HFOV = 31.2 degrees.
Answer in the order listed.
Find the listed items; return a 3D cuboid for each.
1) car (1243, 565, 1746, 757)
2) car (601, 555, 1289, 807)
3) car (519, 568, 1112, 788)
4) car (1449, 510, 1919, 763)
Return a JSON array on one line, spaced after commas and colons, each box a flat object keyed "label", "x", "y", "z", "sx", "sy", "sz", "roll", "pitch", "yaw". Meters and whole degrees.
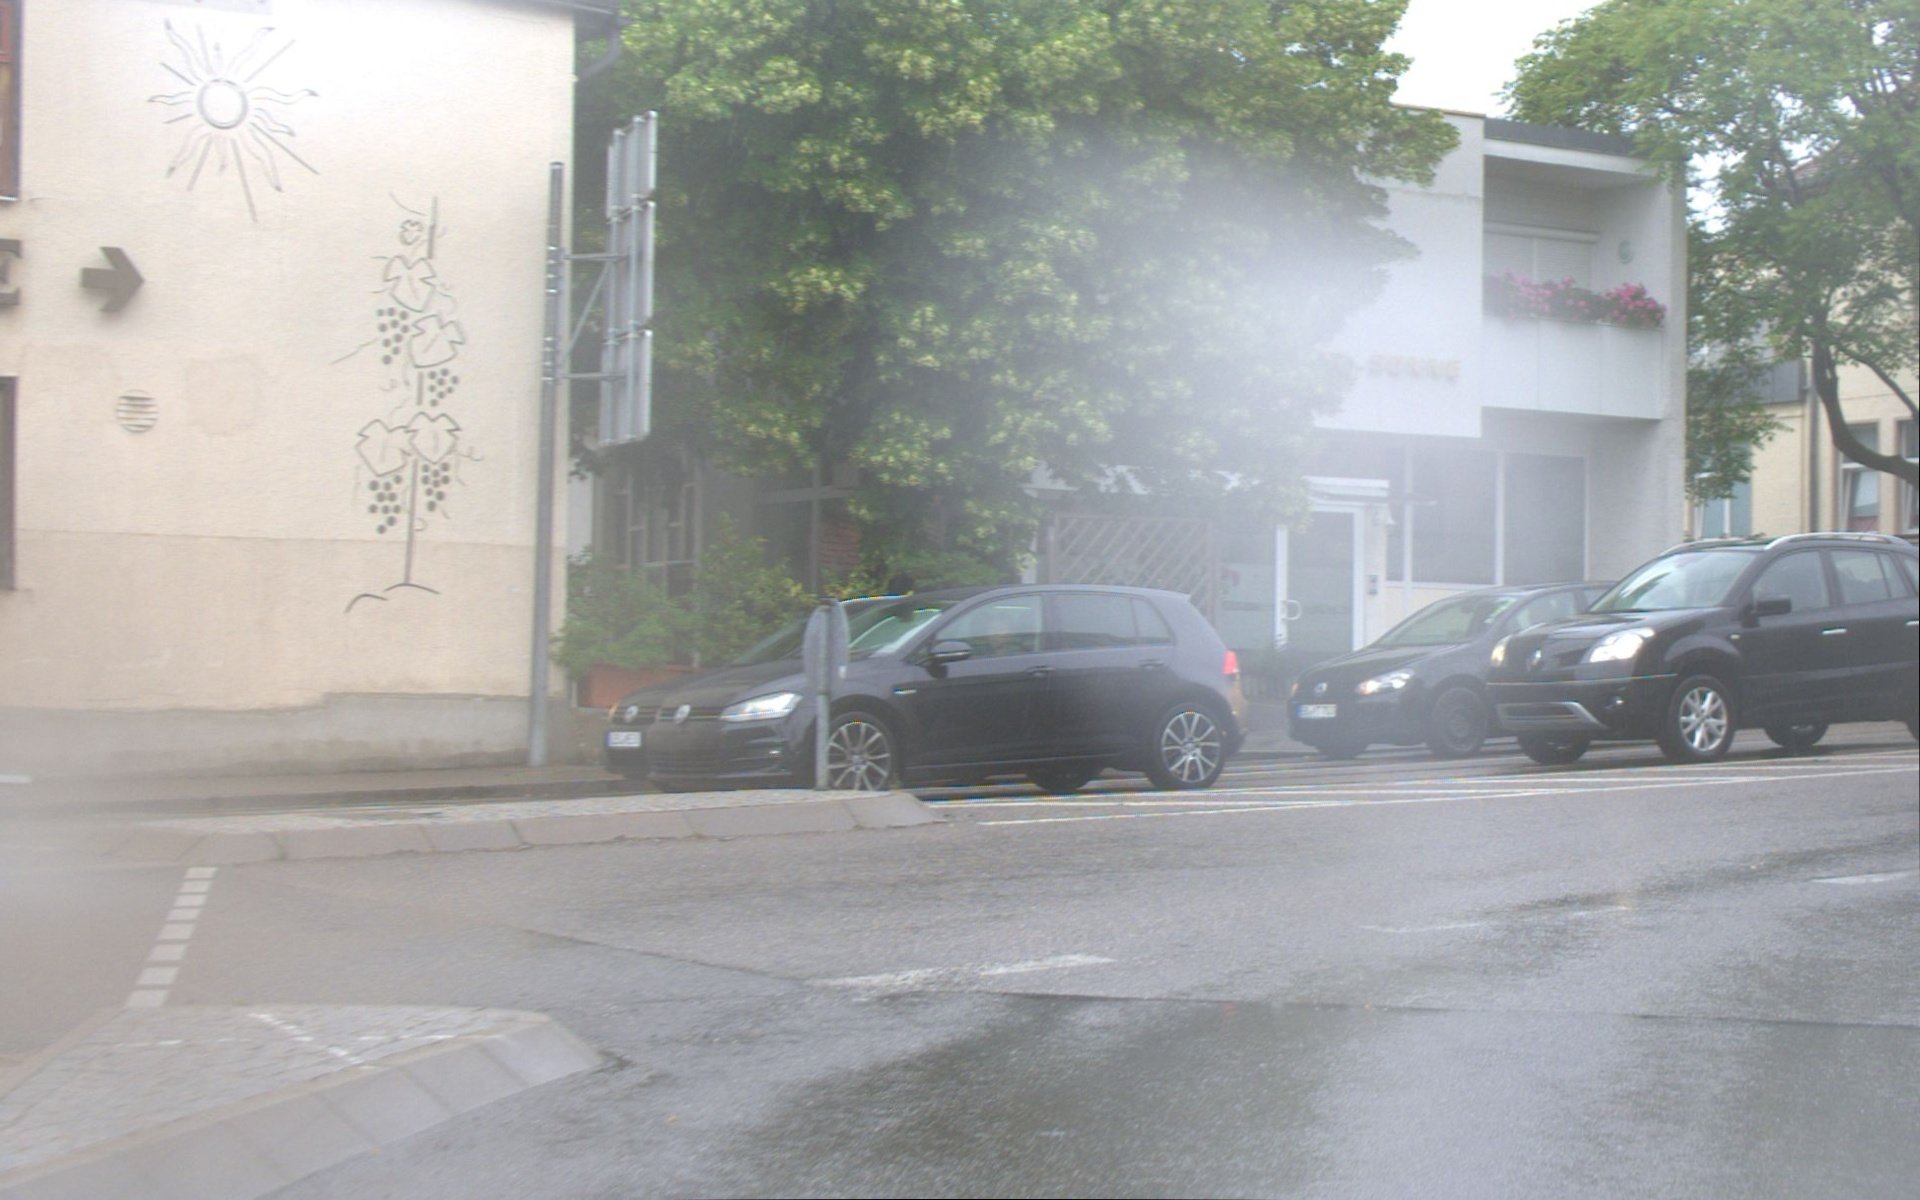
[{"label": "car", "x": 4.719, "y": 0.524, "z": 30.180, "sx": 4.172, "sy": 1.513, "sz": 1.778, "roll": -1, "pitch": -2, "yaw": -33}, {"label": "car", "x": -0.055, "y": 0.519, "z": 23.044, "sx": 4.302, "sy": 1.499, "sz": 1.778, "roll": -1, "pitch": -2, "yaw": -34}, {"label": "car", "x": -1.080, "y": 0.579, "z": 26.420, "sx": 4.172, "sy": 1.513, "sz": 1.778, "roll": -1, "pitch": -2, "yaw": -33}, {"label": "car", "x": 6.058, "y": 0.264, "z": 26.669, "sx": 4.302, "sy": 1.809, "sz": 1.778, "roll": -1, "pitch": -2, "yaw": -33}]
